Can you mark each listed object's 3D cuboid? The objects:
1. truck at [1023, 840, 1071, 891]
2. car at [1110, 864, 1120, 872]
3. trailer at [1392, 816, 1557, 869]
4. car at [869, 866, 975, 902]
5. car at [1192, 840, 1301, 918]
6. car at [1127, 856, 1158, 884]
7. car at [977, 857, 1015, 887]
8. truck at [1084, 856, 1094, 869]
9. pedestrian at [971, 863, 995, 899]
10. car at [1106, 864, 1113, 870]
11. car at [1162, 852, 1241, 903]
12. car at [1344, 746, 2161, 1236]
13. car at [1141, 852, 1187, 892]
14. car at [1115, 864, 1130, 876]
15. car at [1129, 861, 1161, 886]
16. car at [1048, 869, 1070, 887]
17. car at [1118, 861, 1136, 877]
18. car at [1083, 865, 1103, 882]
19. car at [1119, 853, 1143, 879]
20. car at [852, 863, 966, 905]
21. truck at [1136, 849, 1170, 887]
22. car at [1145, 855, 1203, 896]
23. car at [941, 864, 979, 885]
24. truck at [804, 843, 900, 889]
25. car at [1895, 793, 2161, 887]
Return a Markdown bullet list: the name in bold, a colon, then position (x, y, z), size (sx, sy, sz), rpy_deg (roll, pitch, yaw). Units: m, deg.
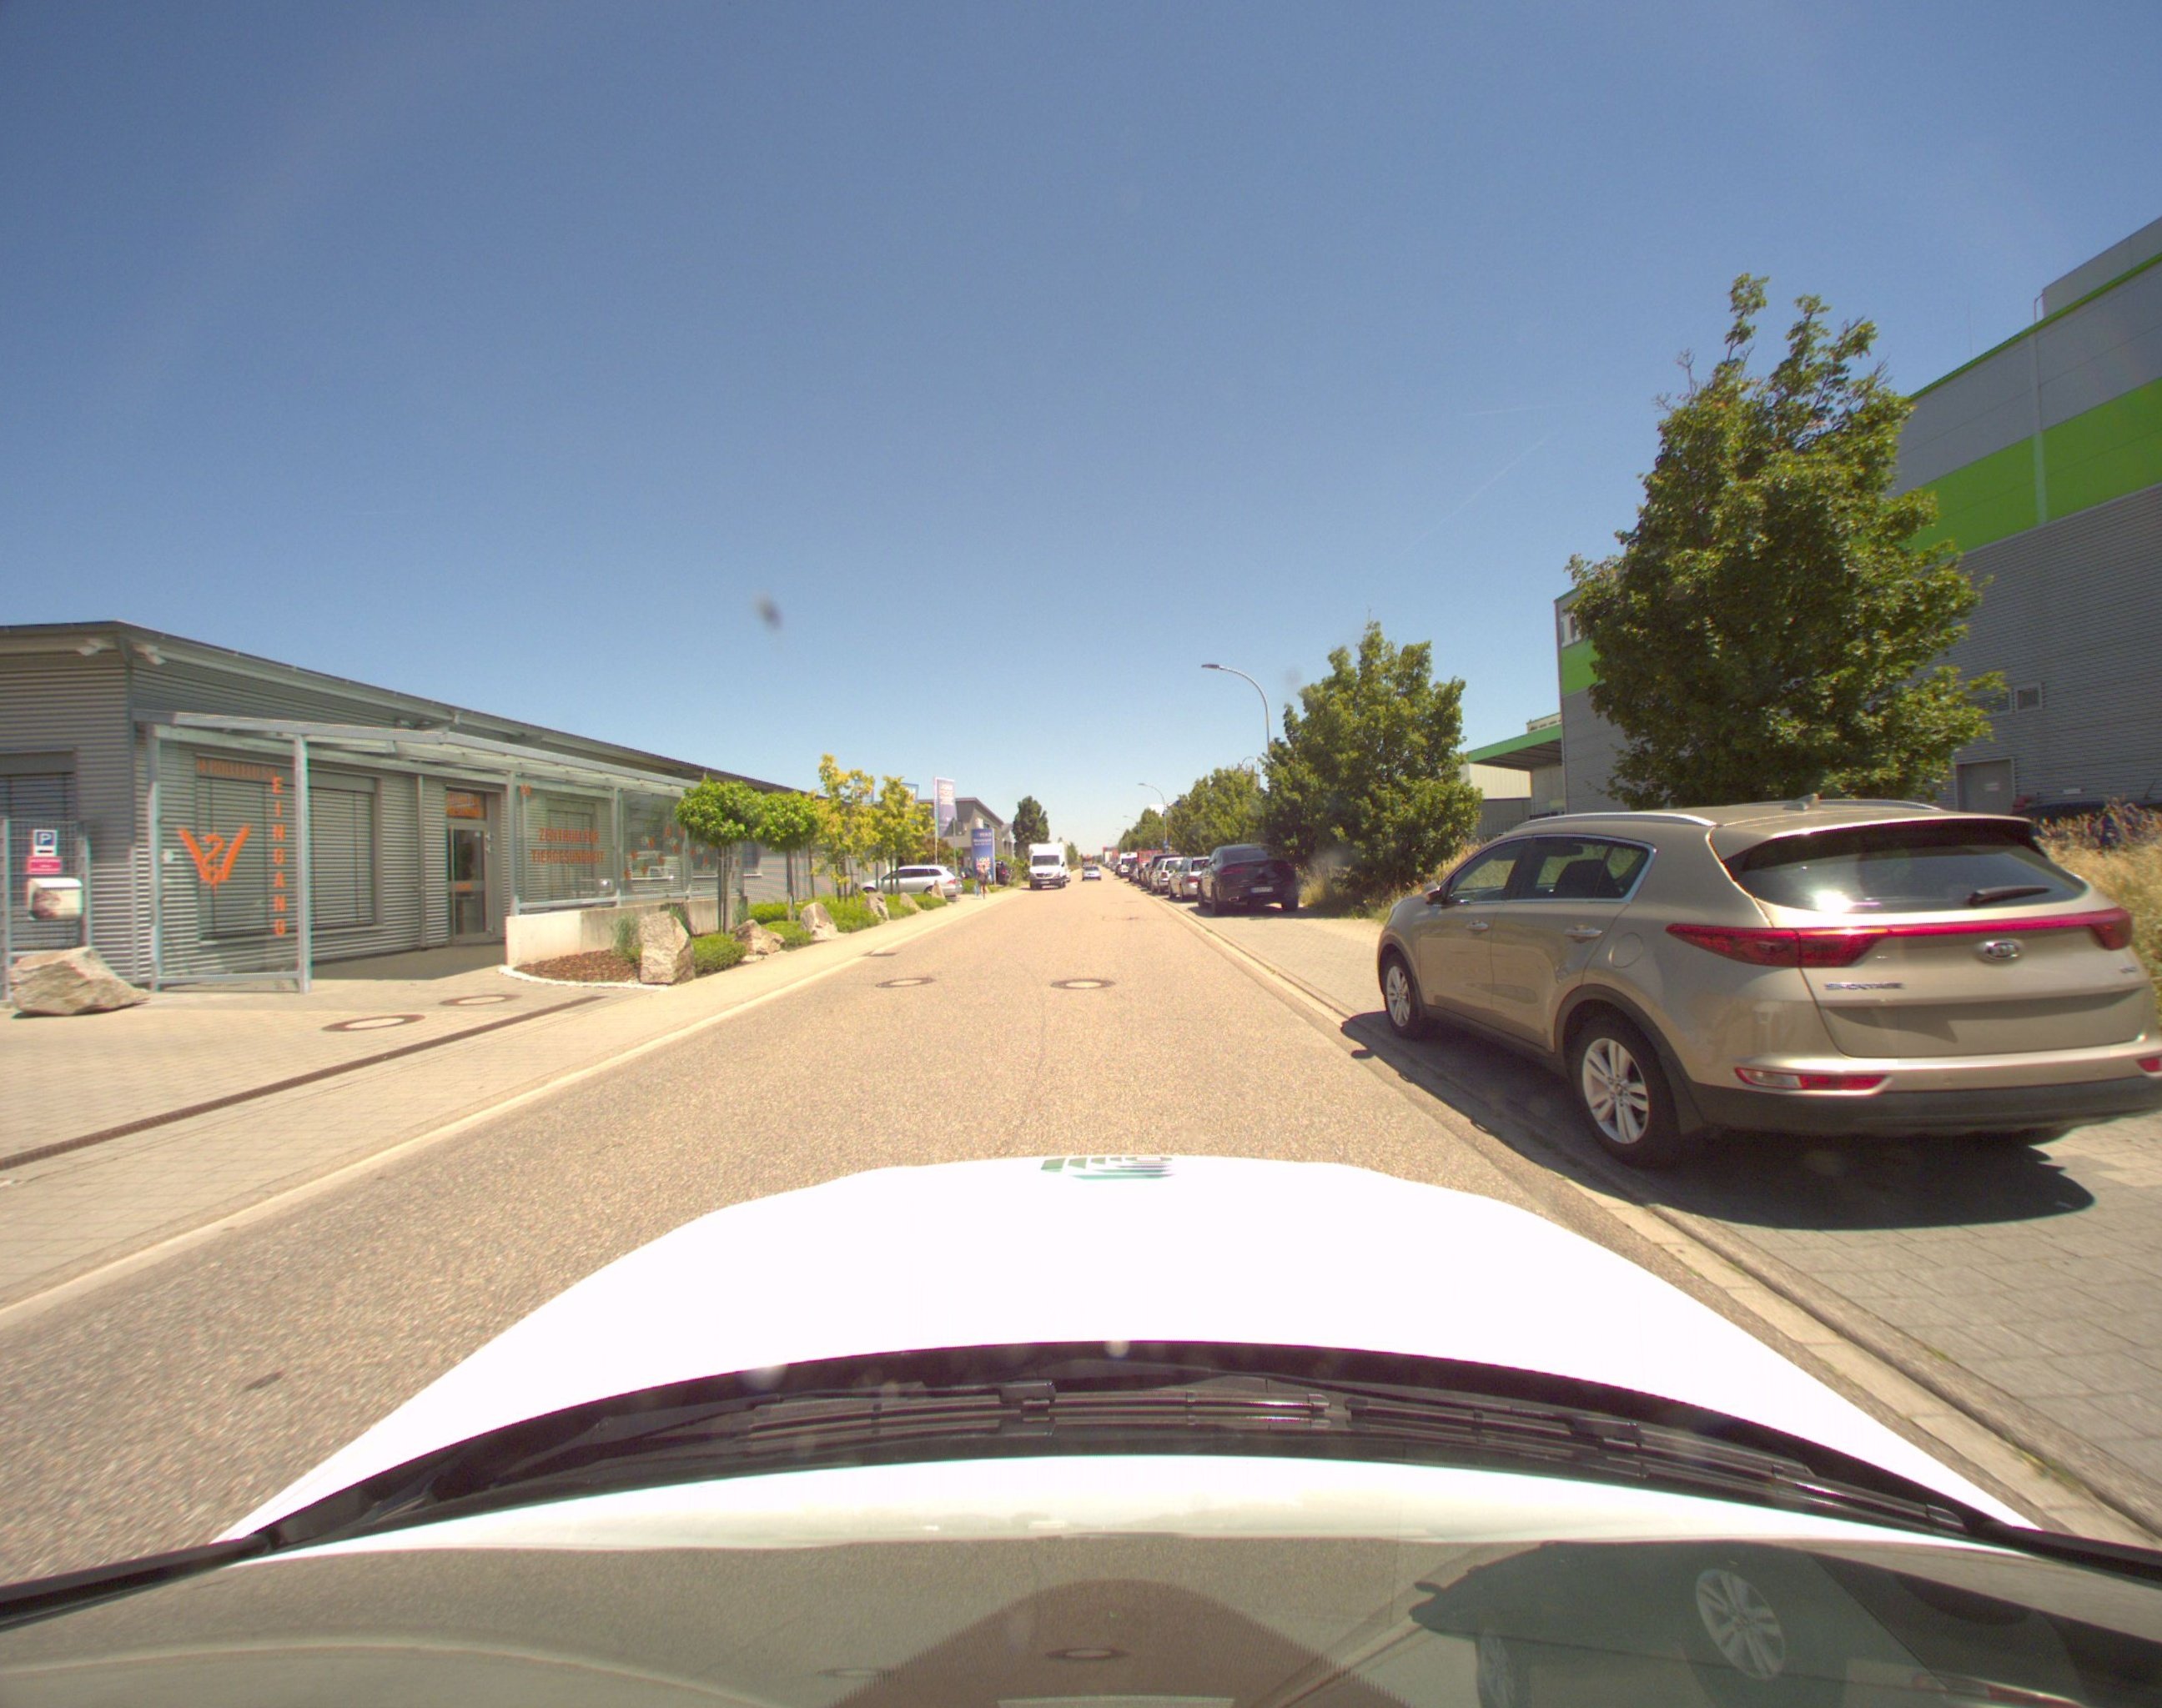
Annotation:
- **truck**: position (-2.042, 0.742, 51.341), size (2.353, 2.860, 6.416), rpy_deg (-4, -1, 1)
- **car**: position (6.221, 2.585, 149.338), size (1.712, 1.450, 3.646), rpy_deg (-3, -1, 1)
- **trailer**: position (33.478, -0.918, 69.690), size (12.573, 3.876, 2.804), rpy_deg (-2, -2, 1)
- **car**: position (-7.041, 1.324, 36.378), size (4.292, 1.431, 1.847), rpy_deg (-2, -1, 2)
- **car**: position (4.179, 0.598, 21.344), size (1.942, 1.701, 4.546), rpy_deg (-4, -1, 2)
- **car**: position (4.617, 1.221, 61.728), size (1.986, 1.885, 5.157), rpy_deg (-4, -1, 1)
- **car**: position (-5.910, 1.278, 57.004), size (1.986, 1.956, 5.218), rpy_deg (-2, -1, 1)
- **truck**: position (2.173, 2.341, 225.921), size (2.440, 3.513, 8.273), rpy_deg (-4, 0, 1)
- **pedestrian**: position (-4.301, 1.165, 35.787), size (0.895, 1.574, 0.786), rpy_deg (0, -1, 2)
- **car**: position (6.790, 3.143, 196.436), size (1.579, 1.409, 3.500), rpy_deg (-3, -1, 1)
- **car**: position (4.084, 0.773, 28.318), size (1.800, 1.483, 4.770), rpy_deg (-4, -1, -2)
- **car**: position (3.291, 0.495, 5.130), size (1.798, 1.635, 4.458), rpy_deg (-4, -1, 1)
- **car**: position (4.012, 0.856, 40.021), size (1.804, 1.725, 4.775), rpy_deg (-4, -1, 2)
- **car**: position (5.733, 2.213, 112.454), size (1.700, 1.504, 4.713), rpy_deg (-3, -1, 6)
- **car**: position (4.368, 1.302, 55.833), size (1.733, 1.531, 3.998), rpy_deg (-4, -1, 0)
- **car**: position (-1.948, 2.138, 73.018), size (1.724, 1.458, 4.492), rpy_deg (-2, -1, 1)
- **car**: position (5.635, 1.873, 100.146), size (1.987, 1.825, 4.354), rpy_deg (-3, -1, 1)
- **car**: position (1.127, 1.848, 76.102), size (1.777, 1.422, 4.413), rpy_deg (-4, -1, 0)
- **car**: position (5.067, 1.239, 83.126), size (2.258, 2.497, 6.156), rpy_deg (-3, -1, 3)
- **car**: position (-7.035, 1.229, 33.680), size (4.248, 1.518, 1.865), rpy_deg (-2, -1, 0)
- **truck**: position (4.502, 0.860, 51.411), size (1.673, 2.181, 4.390), rpy_deg (-4, -1, 1)
- **car**: position (3.846, 0.872, 34.459), size (1.709, 1.483, 4.770), rpy_deg (-4, -1, -2)
- **car**: position (-8.530, 1.442, 57.776), size (1.924, 1.416, 4.769), rpy_deg (-1, -1, 1)
- **truck**: position (-18.554, 0.997, 65.866), size (7.960, 3.557, 2.602), rpy_deg (-2, -1, 30)
- **car**: position (18.376, -0.249, 15.180), size (1.987, 1.499, 4.401), rpy_deg (-3, -1, 1)
